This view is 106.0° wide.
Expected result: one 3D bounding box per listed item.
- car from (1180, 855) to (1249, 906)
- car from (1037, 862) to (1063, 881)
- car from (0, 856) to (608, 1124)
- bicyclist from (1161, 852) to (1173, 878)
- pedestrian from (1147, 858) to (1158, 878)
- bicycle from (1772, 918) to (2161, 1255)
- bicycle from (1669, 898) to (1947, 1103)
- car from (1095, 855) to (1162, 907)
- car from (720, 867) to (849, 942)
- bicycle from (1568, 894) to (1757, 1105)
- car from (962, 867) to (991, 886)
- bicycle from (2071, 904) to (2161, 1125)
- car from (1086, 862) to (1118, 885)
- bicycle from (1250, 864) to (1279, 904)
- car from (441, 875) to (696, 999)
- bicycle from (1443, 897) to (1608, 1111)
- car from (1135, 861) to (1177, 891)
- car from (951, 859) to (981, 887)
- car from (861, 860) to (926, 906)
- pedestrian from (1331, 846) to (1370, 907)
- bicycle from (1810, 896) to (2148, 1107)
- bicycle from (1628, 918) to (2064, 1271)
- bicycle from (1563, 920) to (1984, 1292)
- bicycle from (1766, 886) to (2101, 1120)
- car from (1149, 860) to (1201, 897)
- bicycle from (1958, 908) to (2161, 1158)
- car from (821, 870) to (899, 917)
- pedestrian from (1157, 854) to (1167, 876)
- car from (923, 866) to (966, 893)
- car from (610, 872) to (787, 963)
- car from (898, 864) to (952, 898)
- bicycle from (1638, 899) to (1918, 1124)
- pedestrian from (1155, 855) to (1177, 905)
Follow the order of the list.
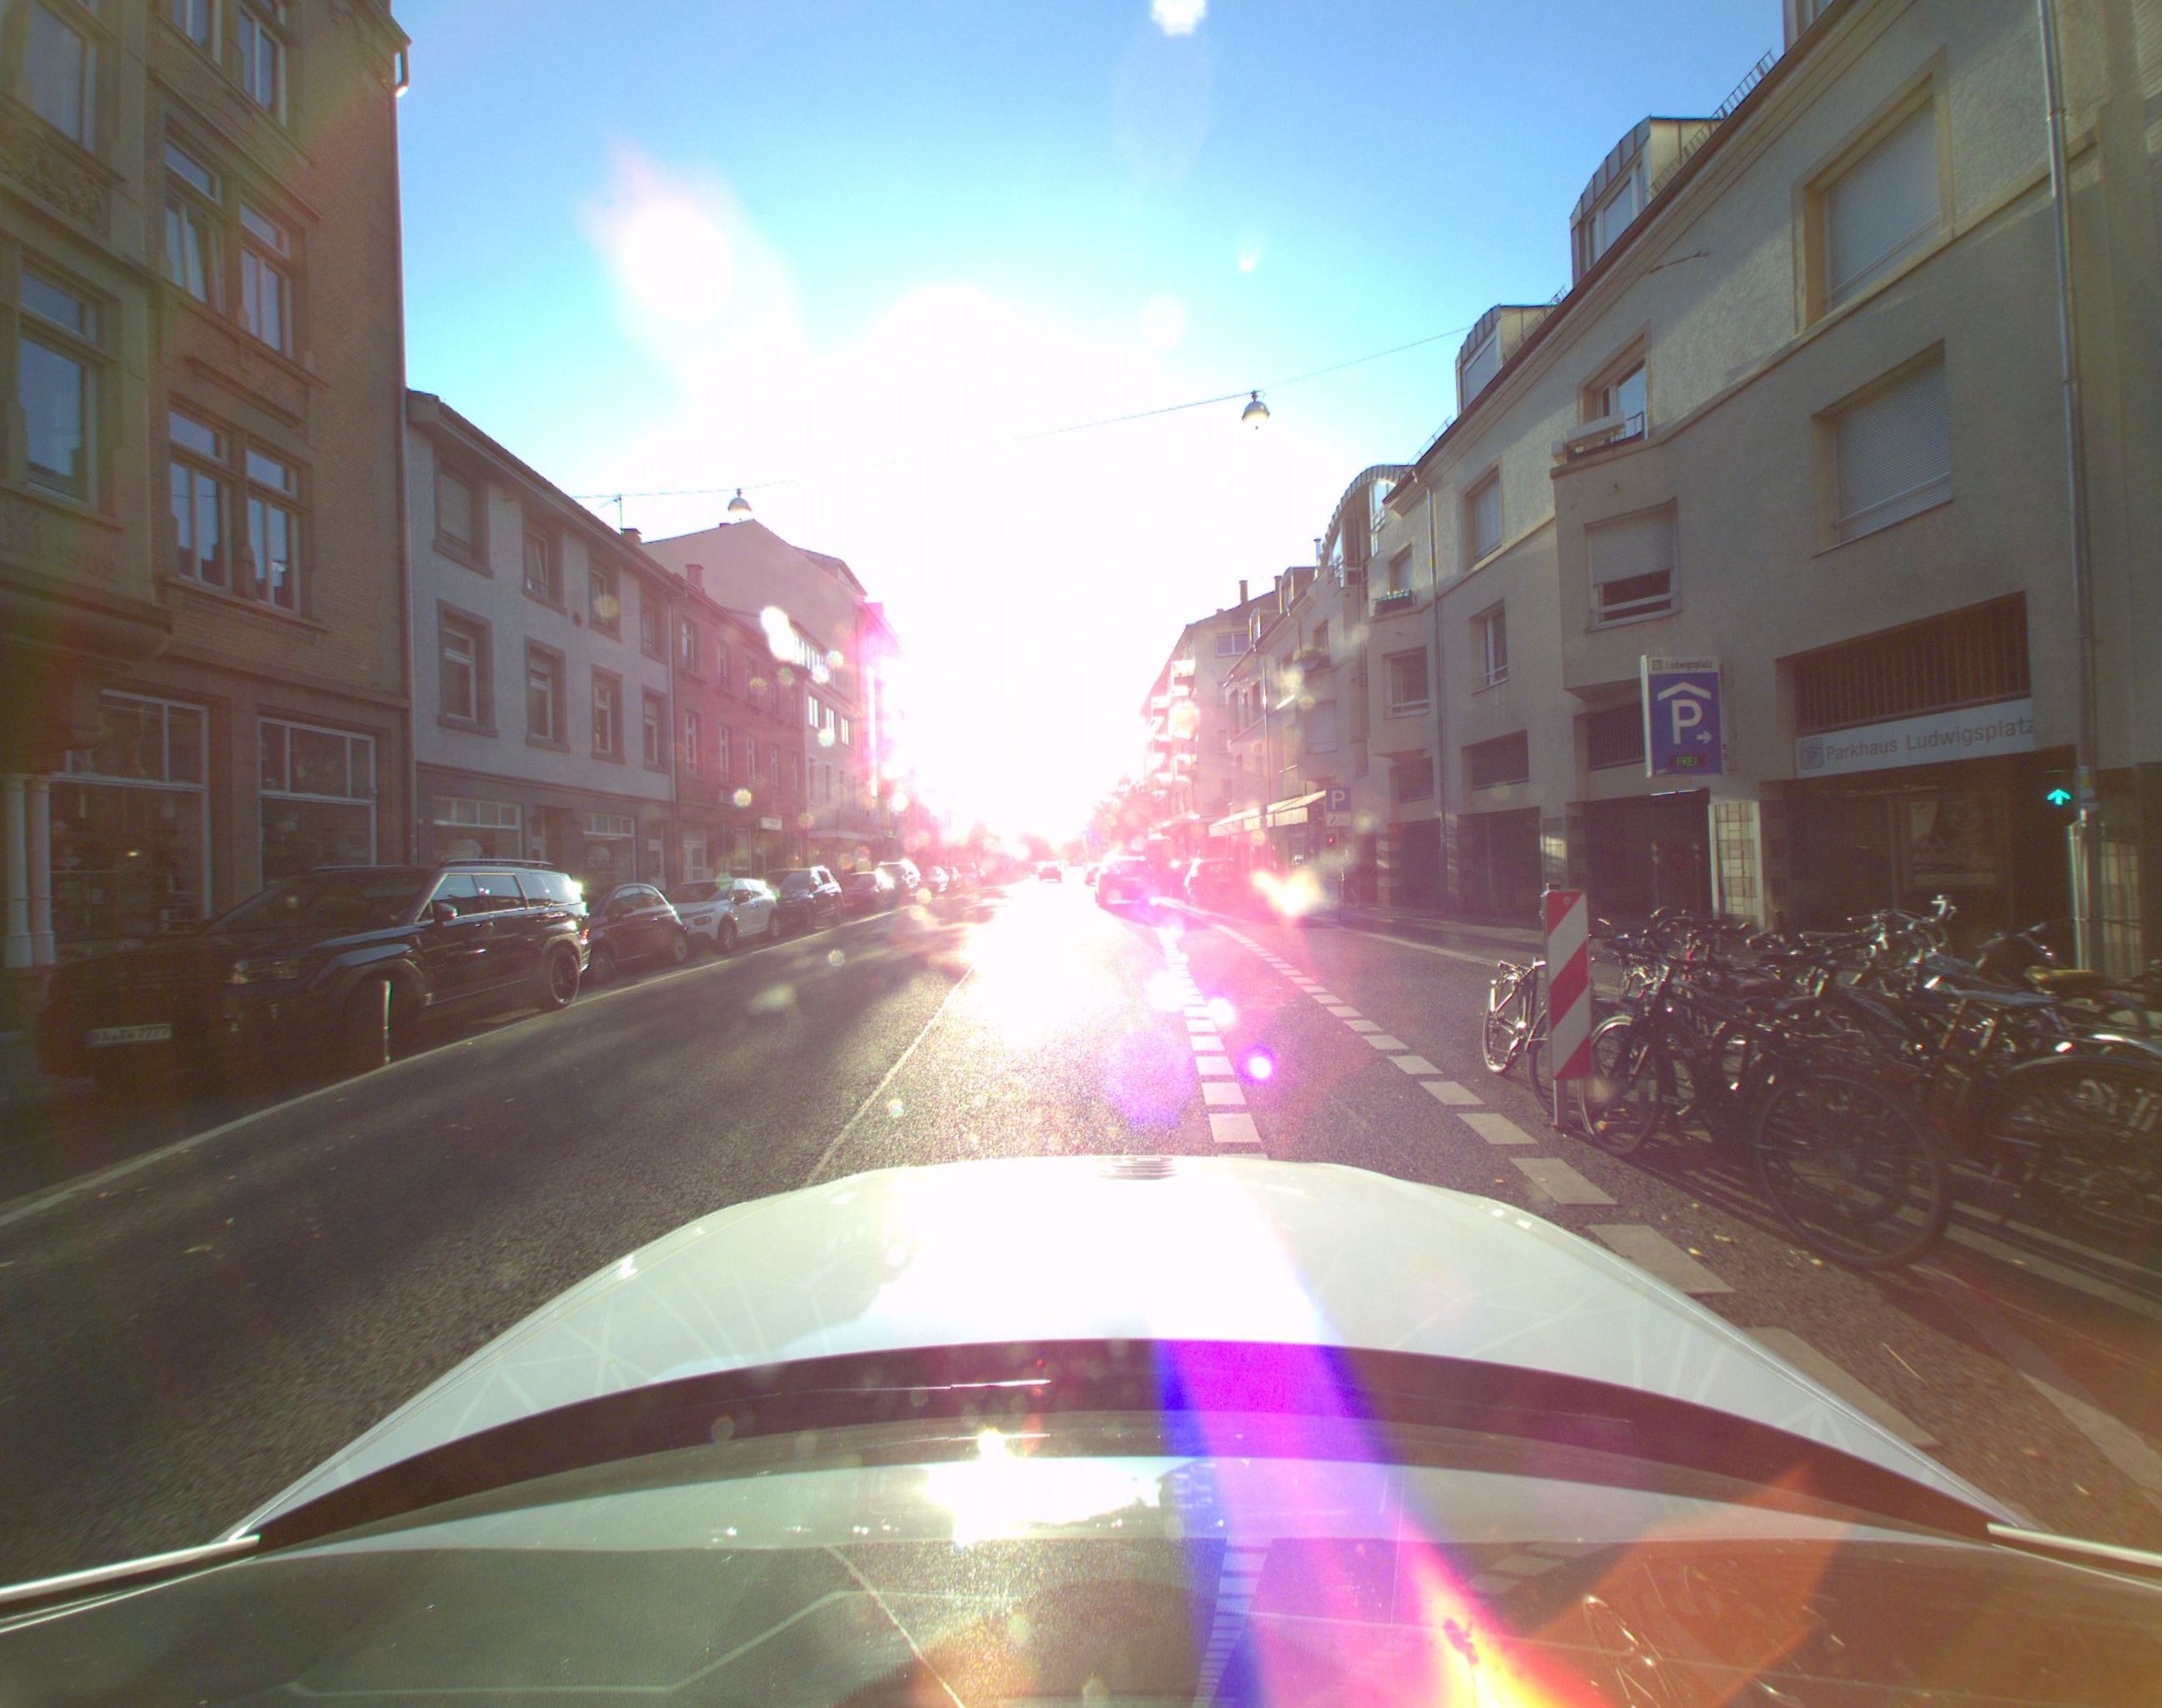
[{"bbox_3d":[4.399,0.851,27.153,1.629,1.553,2.691,-2,0,-4],"label":"car"},{"bbox_3d":[-2.439,1.364,65.118,1.878,1.415,4.323,-1,-1,-1],"label":"car"},{"bbox_3d":[-6.814,0.967,7.989,1.902,1.728,4.692,-3,-1,-6],"label":"car"},{"bbox_3d":[5.755,0.735,54.597,0.648,1.702,1.094,-2,-1,-2],"label":"bicyclist"},{"bbox_3d":[5.627,1.084,64.154,0.686,1.559,0.862,-2,-1,-1],"label":"pedestrian"},{"bbox_3d":[3.821,0.864,3.311,0.383,1.100,1.512,-2,0,-22],"label":"bicycle"},{"bbox_3d":[4.728,0.877,5.438,0.381,1.100,1.521,-1,-1,-4],"label":"bicycle"},{"bbox_3d":[1.564,0.880,28.184,1.989,1.655,4.672,0,0,-1],"label":"car"},{"bbox_3d":[-7.632,1.231,21.402,1.768,1.633,4.236,-4,0,-1],"label":"car"},{"bbox_3d":[3.734,0.859,5.359,0.368,1.108,1.527,-2,0,11],"label":"bicycle"},{"bbox_3d":[-8.273,1.753,64.800,1.828,1.328,4.120,-3,0,-2],"label":"car"},{"bbox_3d":[5.732,0.827,3.750,0.381,1.100,1.520,-2,0,-5],"label":"bicycle"},{"bbox_3d":[1.313,1.234,52.788,1.916,1.415,4.546,1,-1,-1],"label":"car"},{"bbox_3d":[5.974,0.951,26.555,0.396,1.234,1.823,-2,0,-3],"label":"bicycle"},{"bbox_3d":[-7.865,1.185,12.932,1.768,1.515,3.483,-4,0,-1],"label":"car"},{"bbox_3d":[2.854,0.889,5.384,0.360,1.141,1.568,-2,-1,7],"label":"bicycle"},{"bbox_3d":[3.804,1.090,41.732,1.698,1.436,3.930,-1,-1,-1],"label":"car"},{"bbox_3d":[-8.257,1.358,58.634,1.830,1.854,4.117,-1,-1,-4],"label":"car"},{"bbox_3d":[-8.297,1.235,36.551,1.823,1.810,5.342,-3,0,-3],"label":"car"},{"bbox_3d":[7.564,0.636,22.879,0.806,1.646,0.607,-3,-1,5],"label":"pedestrian"},{"bbox_3d":[5.685,0.856,5.297,0.381,1.100,1.520,-2,-1,-5],"label":"bicycle"},{"bbox_3d":[3.179,0.892,3.597,0.381,1.100,1.521,-2,0,-4],"label":"bicycle"},{"bbox_3d":[2.758,0.895,3.470,0.381,1.100,1.521,-2,0,-4],"label":"bicycle"},{"bbox_3d":[5.164,0.814,5.081,0.381,1.189,1.520,-1,-1,-5],"label":"bicycle"},{"bbox_3d":[3.878,0.983,34.096,1.629,1.424,3.755,-2,0,-2],"label":"car"},{"bbox_3d":[5.176,0.854,3.793,0.381,1.100,1.519,-2,0,-8],"label":"bicycle"},{"bbox_3d":[-8.063,1.397,30.081,1.708,1.440,4.307,-3,0,-1],"label":"car"},{"bbox_3d":[6.324,0.869,63.937,0.685,1.721,0.717,-3,-1,4],"label":"pedestrian"},{"bbox_3d":[-8.178,1.509,49.241,1.822,1.439,4.551,-4,-1,-1],"label":"car"},{"bbox_3d":[-7.790,1.215,17.041,1.768,1.515,3.948,-3,0,-1],"label":"car"},{"bbox_3d":[-8.215,1.369,43.305,1.821,1.556,5.134,-4,0,0],"label":"car"},{"bbox_3d":[4.241,0.879,5.113,0.380,1.100,1.565,-2,0,0],"label":"bicycle"},{"bbox_3d":[2.897,0.874,27.878,0.444,1.665,0.560,-2,-1,-26],"label":"pedestrian"}]
